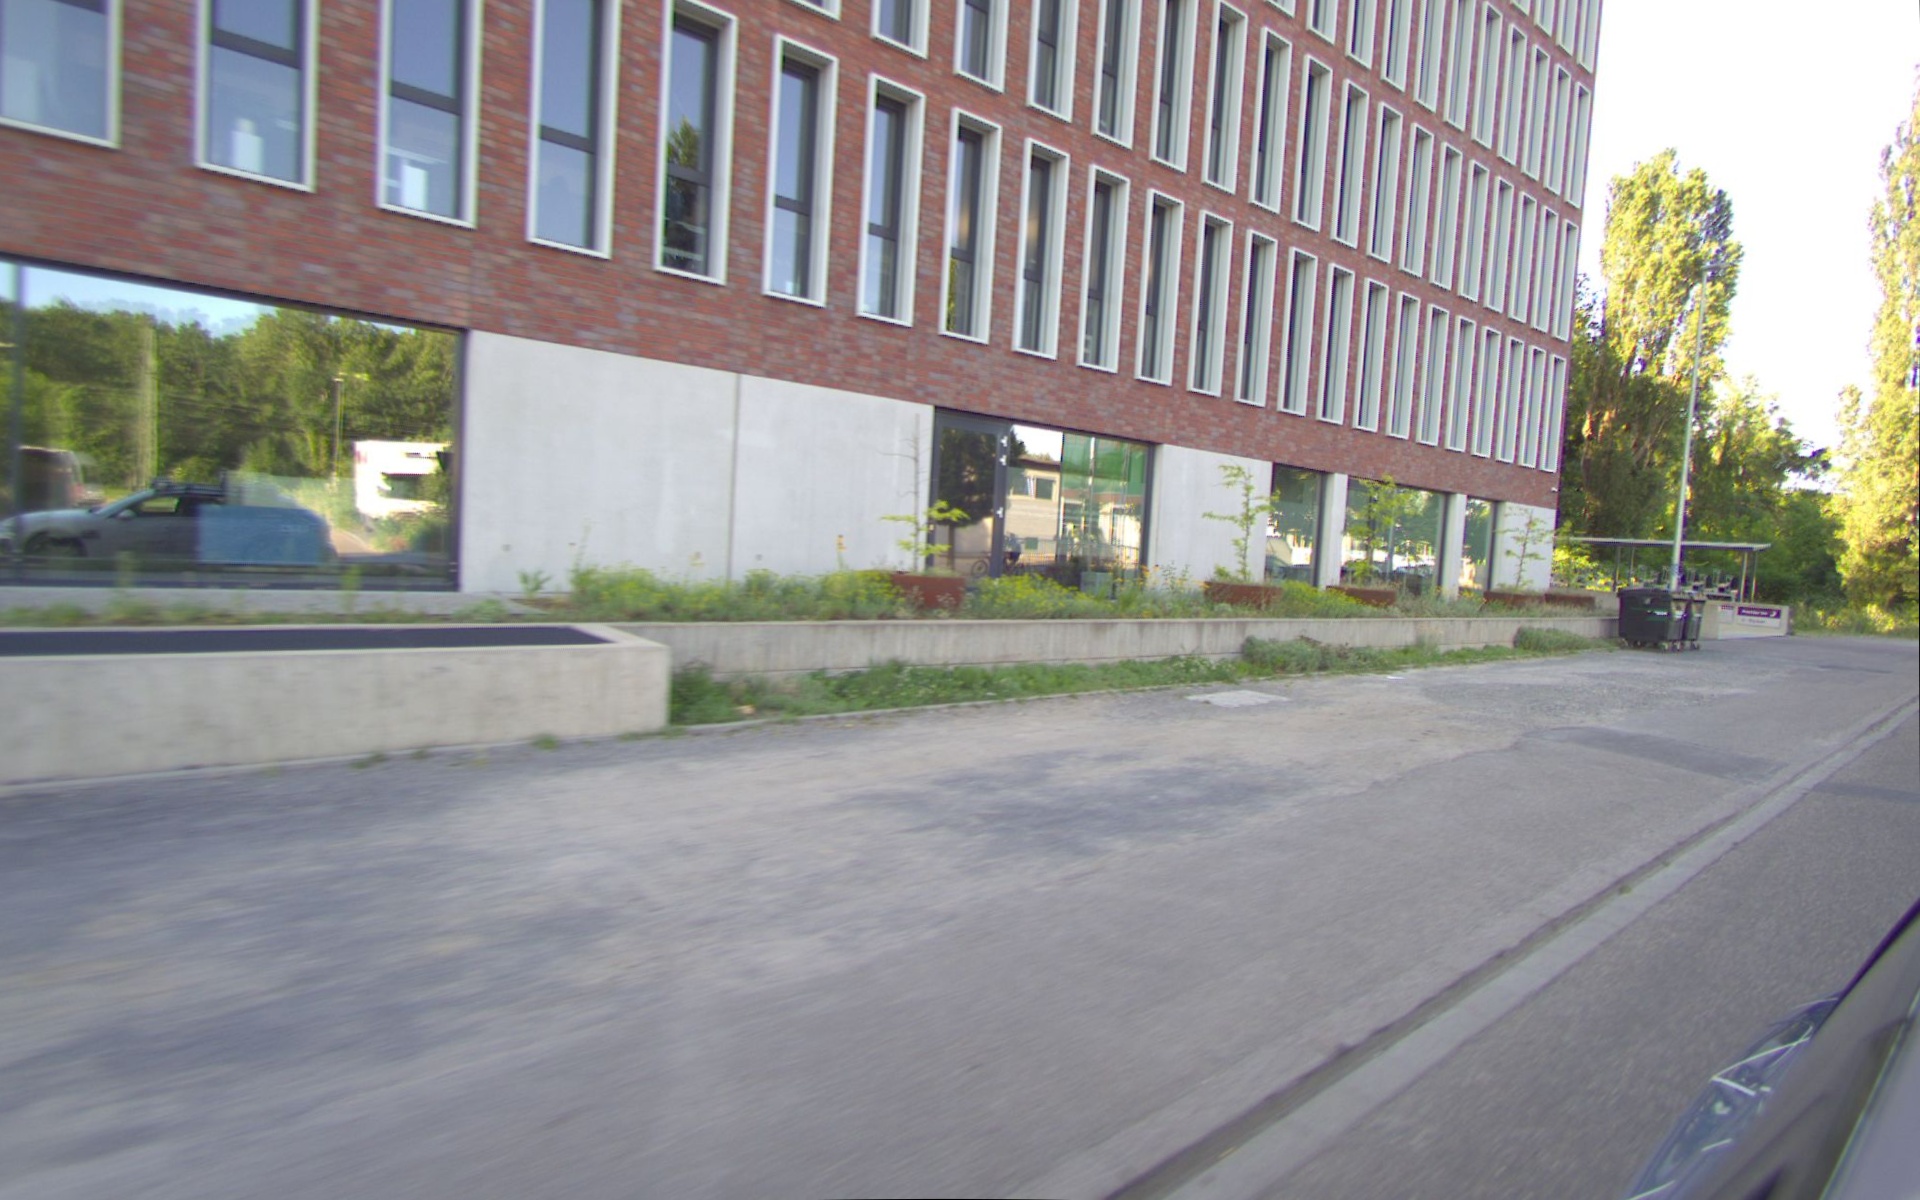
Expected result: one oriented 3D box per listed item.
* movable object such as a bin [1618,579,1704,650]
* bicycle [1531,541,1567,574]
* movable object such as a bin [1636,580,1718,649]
[{"bbox_3d":[14.744,0.286,21.275,1.322,1.352,1.131,0,4,-42],"label":"movable object such as a bin"},{"bbox_3d":[24.527,-1.761,42.148,1.955,1.337,0.632,-1,4,-41],"label":"bicycle"},{"bbox_3d":[15.846,0.300,22.362,1.322,1.388,1.131,0,4,-42],"label":"movable object such as a bin"}]
